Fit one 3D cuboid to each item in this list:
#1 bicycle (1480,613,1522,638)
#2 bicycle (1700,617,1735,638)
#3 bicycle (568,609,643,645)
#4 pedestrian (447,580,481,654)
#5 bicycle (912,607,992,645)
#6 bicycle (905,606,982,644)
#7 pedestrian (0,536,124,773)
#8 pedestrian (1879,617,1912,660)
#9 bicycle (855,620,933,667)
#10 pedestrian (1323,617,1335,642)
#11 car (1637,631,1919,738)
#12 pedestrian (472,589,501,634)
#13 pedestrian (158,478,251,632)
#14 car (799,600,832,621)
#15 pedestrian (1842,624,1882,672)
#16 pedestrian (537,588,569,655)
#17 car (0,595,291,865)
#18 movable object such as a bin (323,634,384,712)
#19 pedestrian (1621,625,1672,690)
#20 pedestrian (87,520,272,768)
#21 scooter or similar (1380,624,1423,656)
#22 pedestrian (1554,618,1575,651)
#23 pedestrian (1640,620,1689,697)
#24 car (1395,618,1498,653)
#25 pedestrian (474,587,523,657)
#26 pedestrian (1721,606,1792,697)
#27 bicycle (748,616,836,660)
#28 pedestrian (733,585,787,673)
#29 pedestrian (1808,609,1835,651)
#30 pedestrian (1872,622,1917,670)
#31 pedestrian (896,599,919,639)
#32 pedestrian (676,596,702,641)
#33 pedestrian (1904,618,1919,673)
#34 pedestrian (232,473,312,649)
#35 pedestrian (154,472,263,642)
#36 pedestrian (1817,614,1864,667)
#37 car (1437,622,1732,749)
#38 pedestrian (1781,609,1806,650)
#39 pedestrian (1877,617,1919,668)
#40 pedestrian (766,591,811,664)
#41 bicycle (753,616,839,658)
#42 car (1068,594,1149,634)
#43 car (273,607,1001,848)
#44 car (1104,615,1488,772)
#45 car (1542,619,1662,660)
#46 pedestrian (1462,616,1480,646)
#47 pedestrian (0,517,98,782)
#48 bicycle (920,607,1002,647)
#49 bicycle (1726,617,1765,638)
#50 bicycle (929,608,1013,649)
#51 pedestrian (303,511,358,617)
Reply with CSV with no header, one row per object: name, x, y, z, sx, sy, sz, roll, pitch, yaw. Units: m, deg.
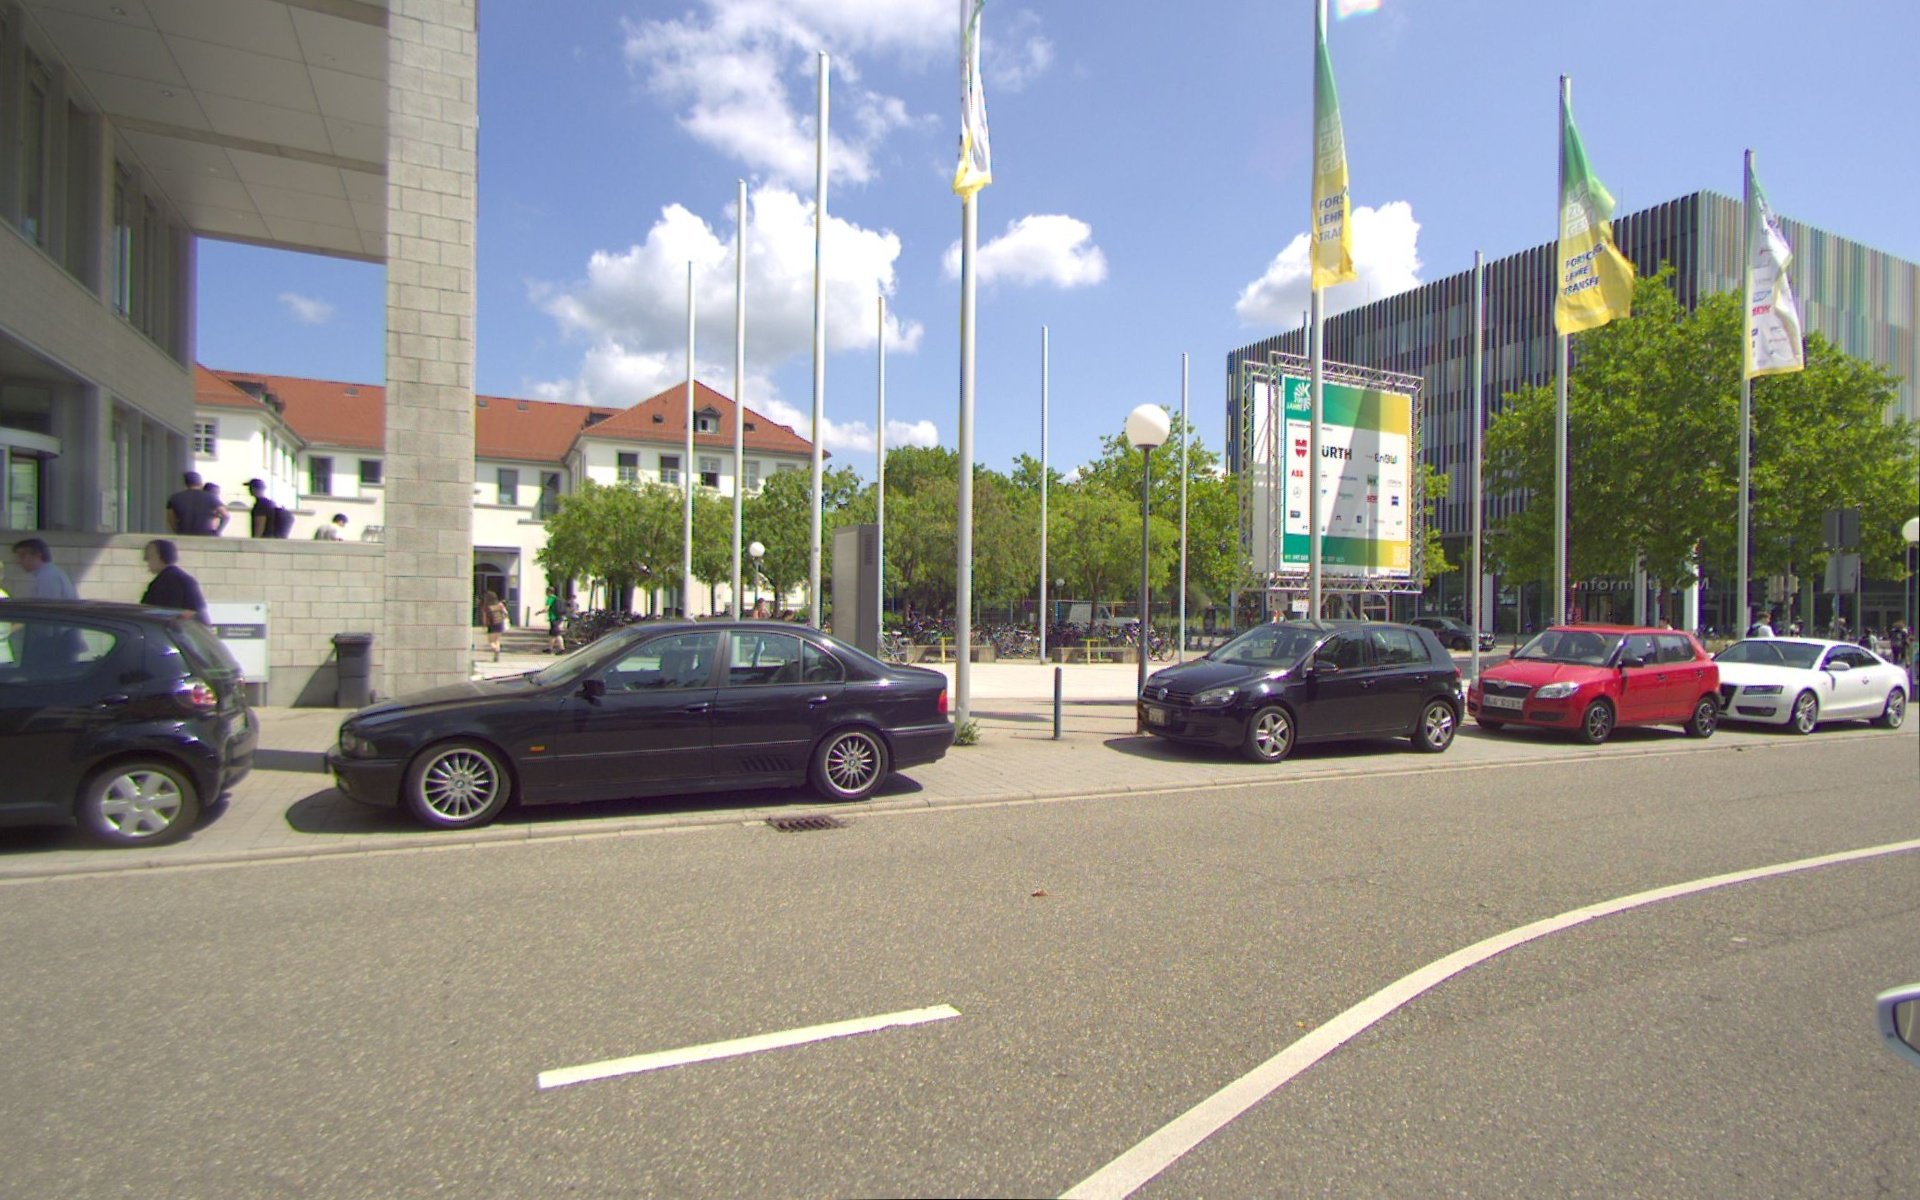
bicycle,41.011,1.946,76.180,2.903,1.863,1.014,1,0,-17
bicycle,47.058,1.675,62.429,1.178,1.254,2.948,1,0,27
bicycle,-14.873,1.149,42.269,2.905,1.430,1.143,1,0,-19
pedestrian,-13.811,0.471,27.979,0.726,2.040,0.757,1,0,-22
bicycle,-0.315,1.009,39.127,2.905,1.430,1.061,1,0,-18
bicycle,-0.654,0.992,40.217,2.905,1.430,1.061,1,0,-18
pedestrian,-8.445,0.472,9.101,1.151,2.040,0.979,1,-1,-30
pedestrian,37.952,1.550,40.752,0.746,1.700,0.751,1,-1,-27
bicycle,-1.829,1.205,27.842,2.067,1.232,0.647,1,0,-26
pedestrian,31.323,2.487,85.210,0.579,2.104,0.732,1,-1,-24
car,13.008,1.256,15.934,4.600,1.414,1.671,1,1,-26
pedestrian,-21.766,0.520,46.153,0.905,2.040,1.058,1,-1,-9
pedestrian,-11.015,-0.638,14.671,0.790,2.174,0.705,1,0,-6
car,-14.191,1.058,98.350,1.842,1.965,4.369,1,-1,-28
pedestrian,31.059,1.628,34.596,0.787,1.619,0.768,1,-1,-25
pedestrian,-11.040,0.580,27.215,0.728,1.797,0.755,1,-1,-26
car,-6.398,0.730,6.120,3.659,1.487,1.633,1,1,-27
movable object such as a bin,-7.643,0.908,12.681,0.587,0.942,0.574,1,0,-26
pedestrian,18.074,1.495,26.461,0.736,1.673,0.841,1,-1,-25
pedestrian,-6.926,0.377,9.002,1.151,2.040,0.979,1,-1,-30
scooter or similar,17.478,1.581,39.800,0.486,1.212,1.726,1,-1,-20
pedestrian,44.993,2.563,74.760,1.001,2.377,0.969,1,0,-26
pedestrian,17.751,1.465,25.307,0.759,1.884,0.717,1,0,-25
car,24.786,1.781,51.357,1.630,1.683,4.796,1,-1,-24
pedestrian,-10.966,0.514,23.889,0.722,1.635,0.733,1,0,13
pedestrian,16.897,1.072,21.320,1.073,1.876,0.718,1,1,-23
bicycle,-5.797,1.310,34.812,2.895,1.430,1.147,1,0,-5
pedestrian,-4.788,0.683,24.063,0.976,2.040,1.051,1,-1,-29
pedestrian,53.854,1.855,62.782,0.957,2.599,1.014,1,0,21
pedestrian,32.969,1.608,35.449,0.846,1.676,0.827,0,0,-7
pedestrian,-2.954,1.079,56.666,1.020,2.229,1.160,0,-1,12
pedestrian,-13.584,0.922,50.317,1.028,2.229,1.017,1,-1,-28
pedestrian,32.277,1.508,33.312,1.243,1.831,0.808,1,-1,-8
pedestrian,-9.929,-0.534,14.498,0.748,2.454,0.735,0,-1,37
pedestrian,-9.496,-0.512,12.736,0.898,2.040,0.974,1,0,-26
pedestrian,32.570,1.489,37.176,0.987,1.901,0.855,0,-1,-3
car,8.707,1.108,13.981,3.859,1.487,1.671,1,1,-26
pedestrian,53.047,1.865,63.936,0.958,2.599,1.013,1,0,28
pedestrian,34.377,1.552,36.635,1.075,1.843,0.864,0,-1,-3
pedestrian,-4.704,0.749,27.508,0.933,1.966,0.981,1,-1,-27
bicycle,-5.856,1.317,36.026,2.895,1.430,1.147,1,0,-5
car,7.743,0.741,52.837,1.842,1.965,4.742,1,-1,-28
car,-2.300,0.831,7.991,4.948,1.396,1.854,1,1,-25
car,3.903,0.983,11.640,4.139,1.487,1.742,1,1,-25
car,28.256,1.689,44.358,1.630,1.683,4.270,0,-1,-25
pedestrian,41.449,2.483,81.501,0.878,2.377,0.969,1,0,-26
pedestrian,-7.800,0.381,8.057,1.151,2.040,0.979,1,-1,-30
bicycle,0.021,1.010,38.047,2.905,1.430,1.061,1,0,-18
bicycle,48.261,1.675,61.768,1.352,1.254,2.947,1,0,27
bicycle,0.399,1.049,36.958,2.905,1.430,1.061,1,0,-18
pedestrian,-10.934,-0.604,17.437,0.752,1.780,0.731,1,-1,-36
